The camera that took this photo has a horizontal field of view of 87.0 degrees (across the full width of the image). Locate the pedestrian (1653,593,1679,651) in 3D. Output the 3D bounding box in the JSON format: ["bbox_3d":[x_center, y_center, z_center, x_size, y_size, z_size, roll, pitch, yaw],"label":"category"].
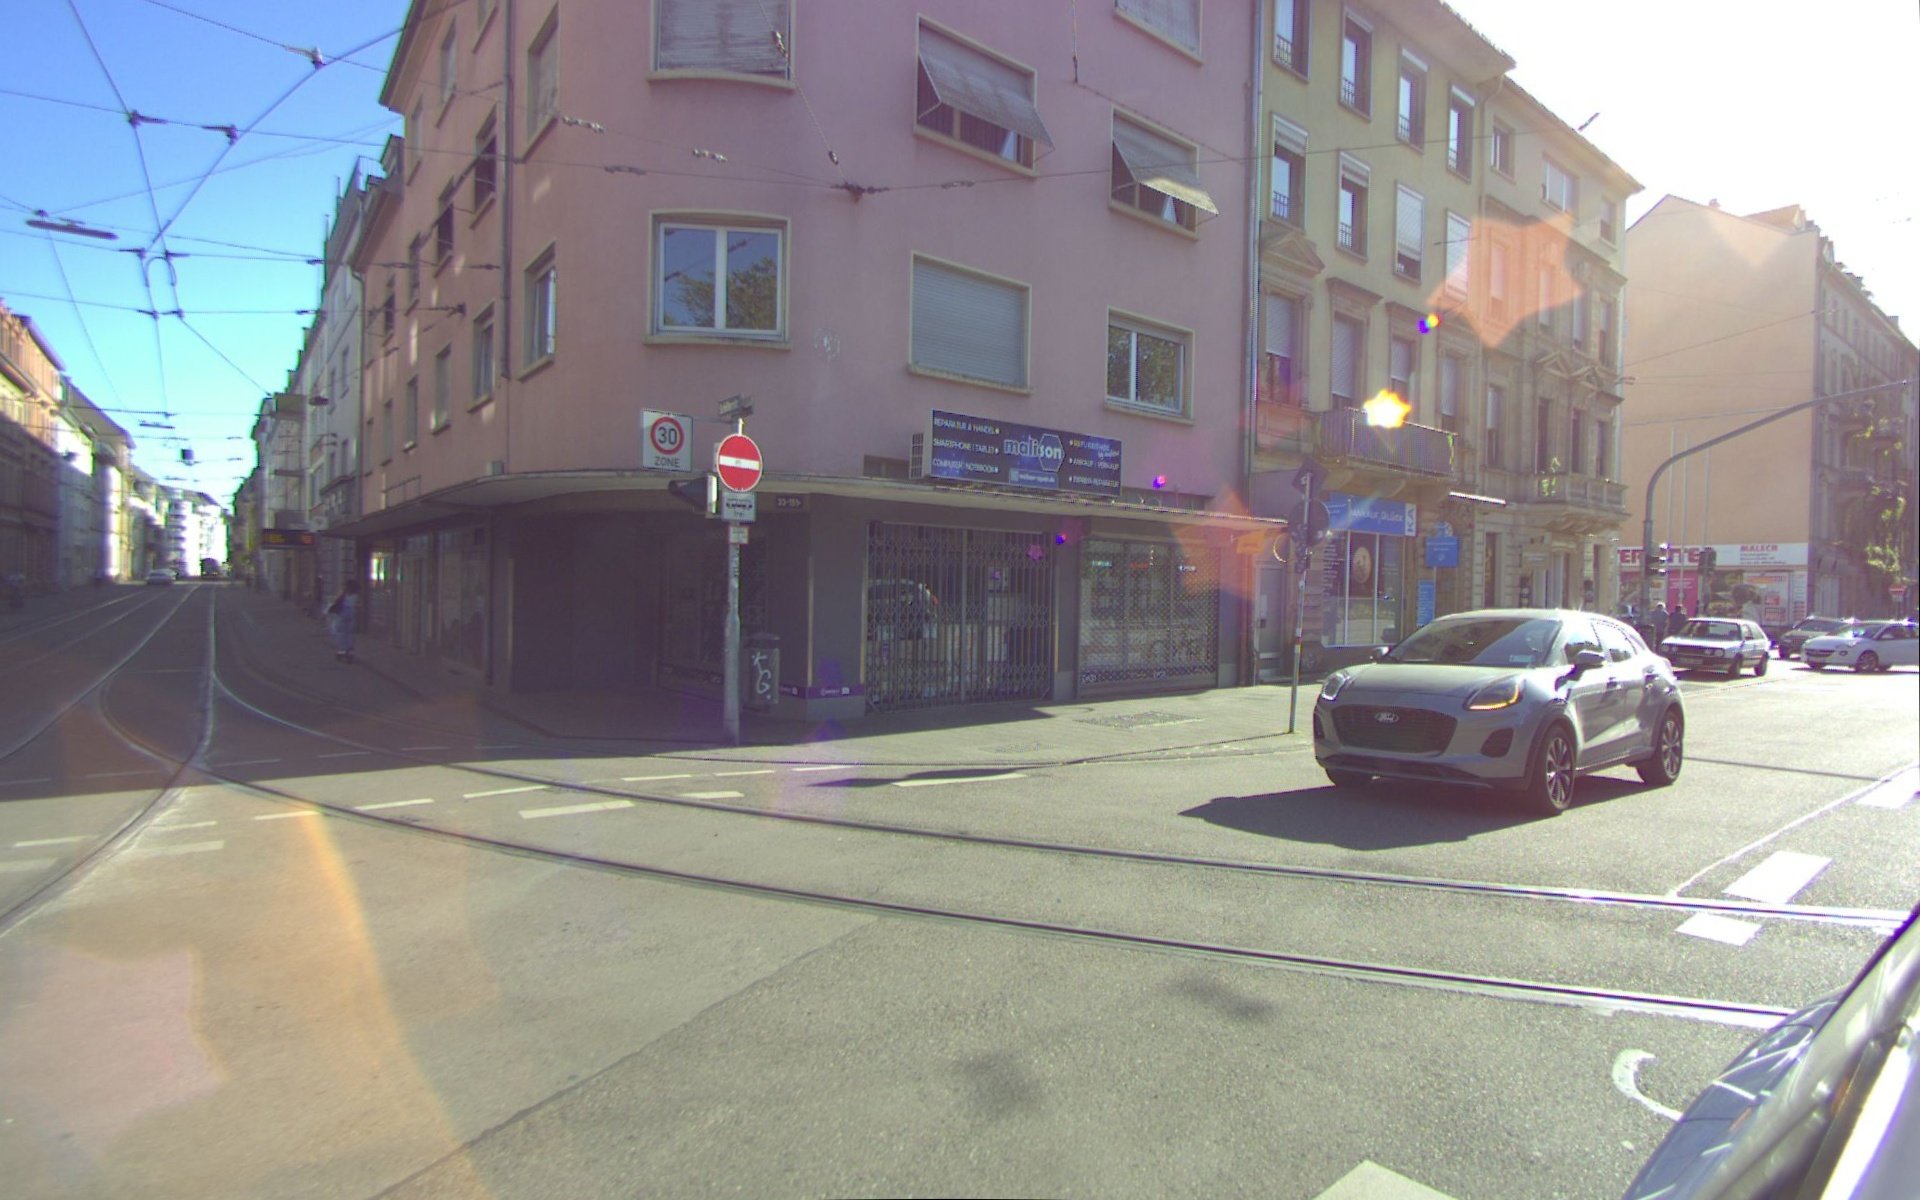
[{"bbox_3d":[22.116,0.678,31.681,0.648,1.784,0.495,1,0,-39],"label":"pedestrian"}]

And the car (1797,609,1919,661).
[{"bbox_3d":[27.246,1.023,29.787,3.918,1.469,1.819,0,-1,-7],"label":"car"}]

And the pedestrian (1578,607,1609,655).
[{"bbox_3d":[17.230,0.832,27.522,0.647,1.275,0.495,1,0,-37],"label":"pedestrian"}]

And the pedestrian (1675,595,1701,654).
[{"bbox_3d":[22.384,0.736,31.125,0.648,1.784,0.495,1,0,-39],"label":"pedestrian"}]

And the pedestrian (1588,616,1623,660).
[{"bbox_3d":[18.070,1.051,28.349,0.485,1.185,0.661,1,0,-25],"label":"pedestrian"}]

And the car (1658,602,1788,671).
[{"bbox_3d":[19.330,0.877,25.587,3.928,1.537,1.739,1,2,-40],"label":"car"}]

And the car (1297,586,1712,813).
[{"bbox_3d":[4.714,0.690,8.567,3.899,1.501,1.659,1,-2,-38],"label":"car"}]
